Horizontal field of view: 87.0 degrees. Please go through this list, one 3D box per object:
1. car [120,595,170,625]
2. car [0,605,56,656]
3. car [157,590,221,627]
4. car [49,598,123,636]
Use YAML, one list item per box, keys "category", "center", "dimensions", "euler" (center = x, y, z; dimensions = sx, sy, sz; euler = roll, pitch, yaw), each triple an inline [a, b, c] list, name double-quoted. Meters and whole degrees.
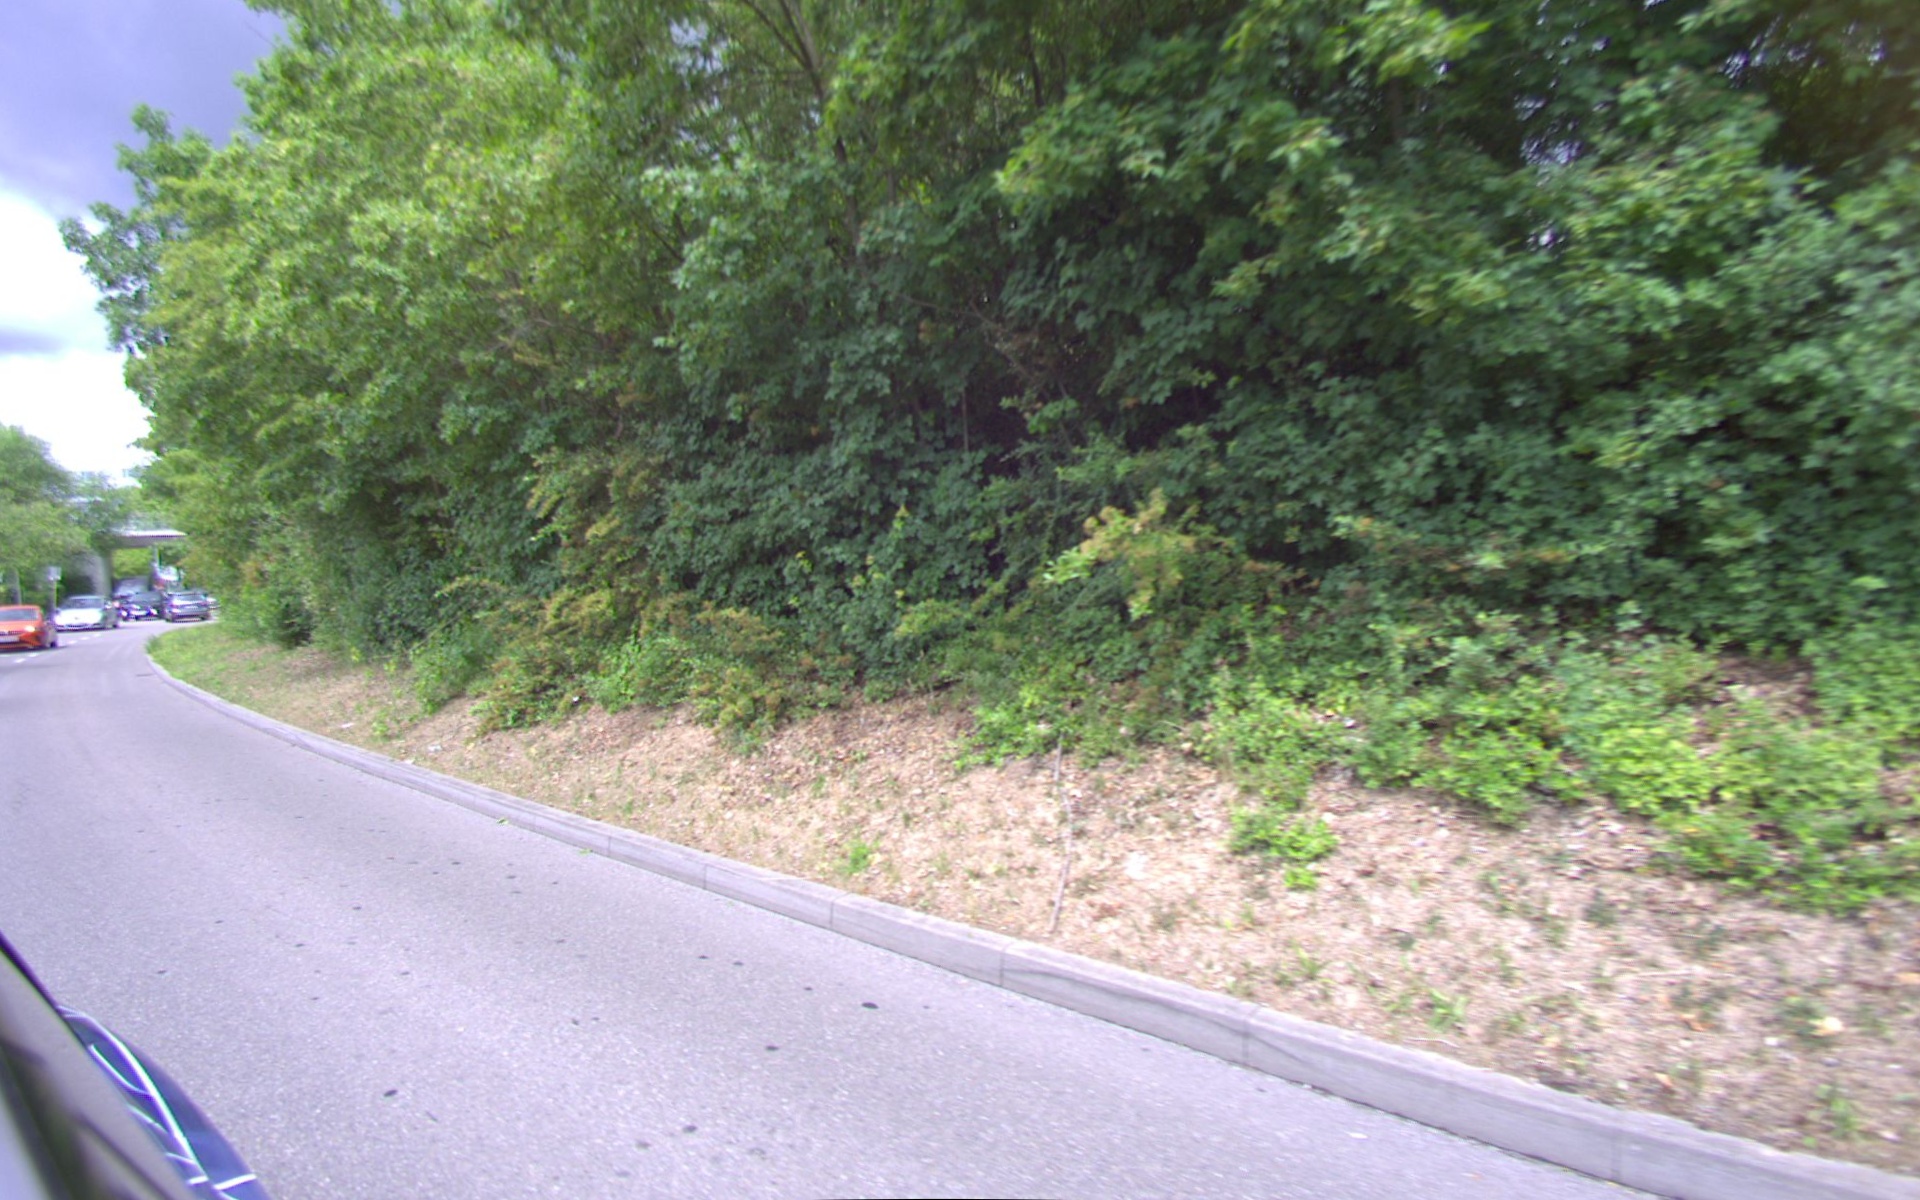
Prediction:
- category: "car"
  center: [-46.455, 0.554, 57.736]
  dimensions: [1.752, 1.430, 4.012]
  euler: [-3, 4, -33]
- category: "car"
  center: [-30.395, 0.957, 32.347]
  dimensions: [4.000, 1.453, 1.837]
  euler: [0, 3, 43]
- category: "car"
  center: [-40.734, 0.412, 53.548]
  dimensions: [1.728, 1.673, 4.134]
  euler: [-6, 4, -25]
- category: "car"
  center: [-40.150, 0.741, 46.587]
  dimensions: [1.751, 1.462, 4.013]
  euler: [-3, 3, -29]
